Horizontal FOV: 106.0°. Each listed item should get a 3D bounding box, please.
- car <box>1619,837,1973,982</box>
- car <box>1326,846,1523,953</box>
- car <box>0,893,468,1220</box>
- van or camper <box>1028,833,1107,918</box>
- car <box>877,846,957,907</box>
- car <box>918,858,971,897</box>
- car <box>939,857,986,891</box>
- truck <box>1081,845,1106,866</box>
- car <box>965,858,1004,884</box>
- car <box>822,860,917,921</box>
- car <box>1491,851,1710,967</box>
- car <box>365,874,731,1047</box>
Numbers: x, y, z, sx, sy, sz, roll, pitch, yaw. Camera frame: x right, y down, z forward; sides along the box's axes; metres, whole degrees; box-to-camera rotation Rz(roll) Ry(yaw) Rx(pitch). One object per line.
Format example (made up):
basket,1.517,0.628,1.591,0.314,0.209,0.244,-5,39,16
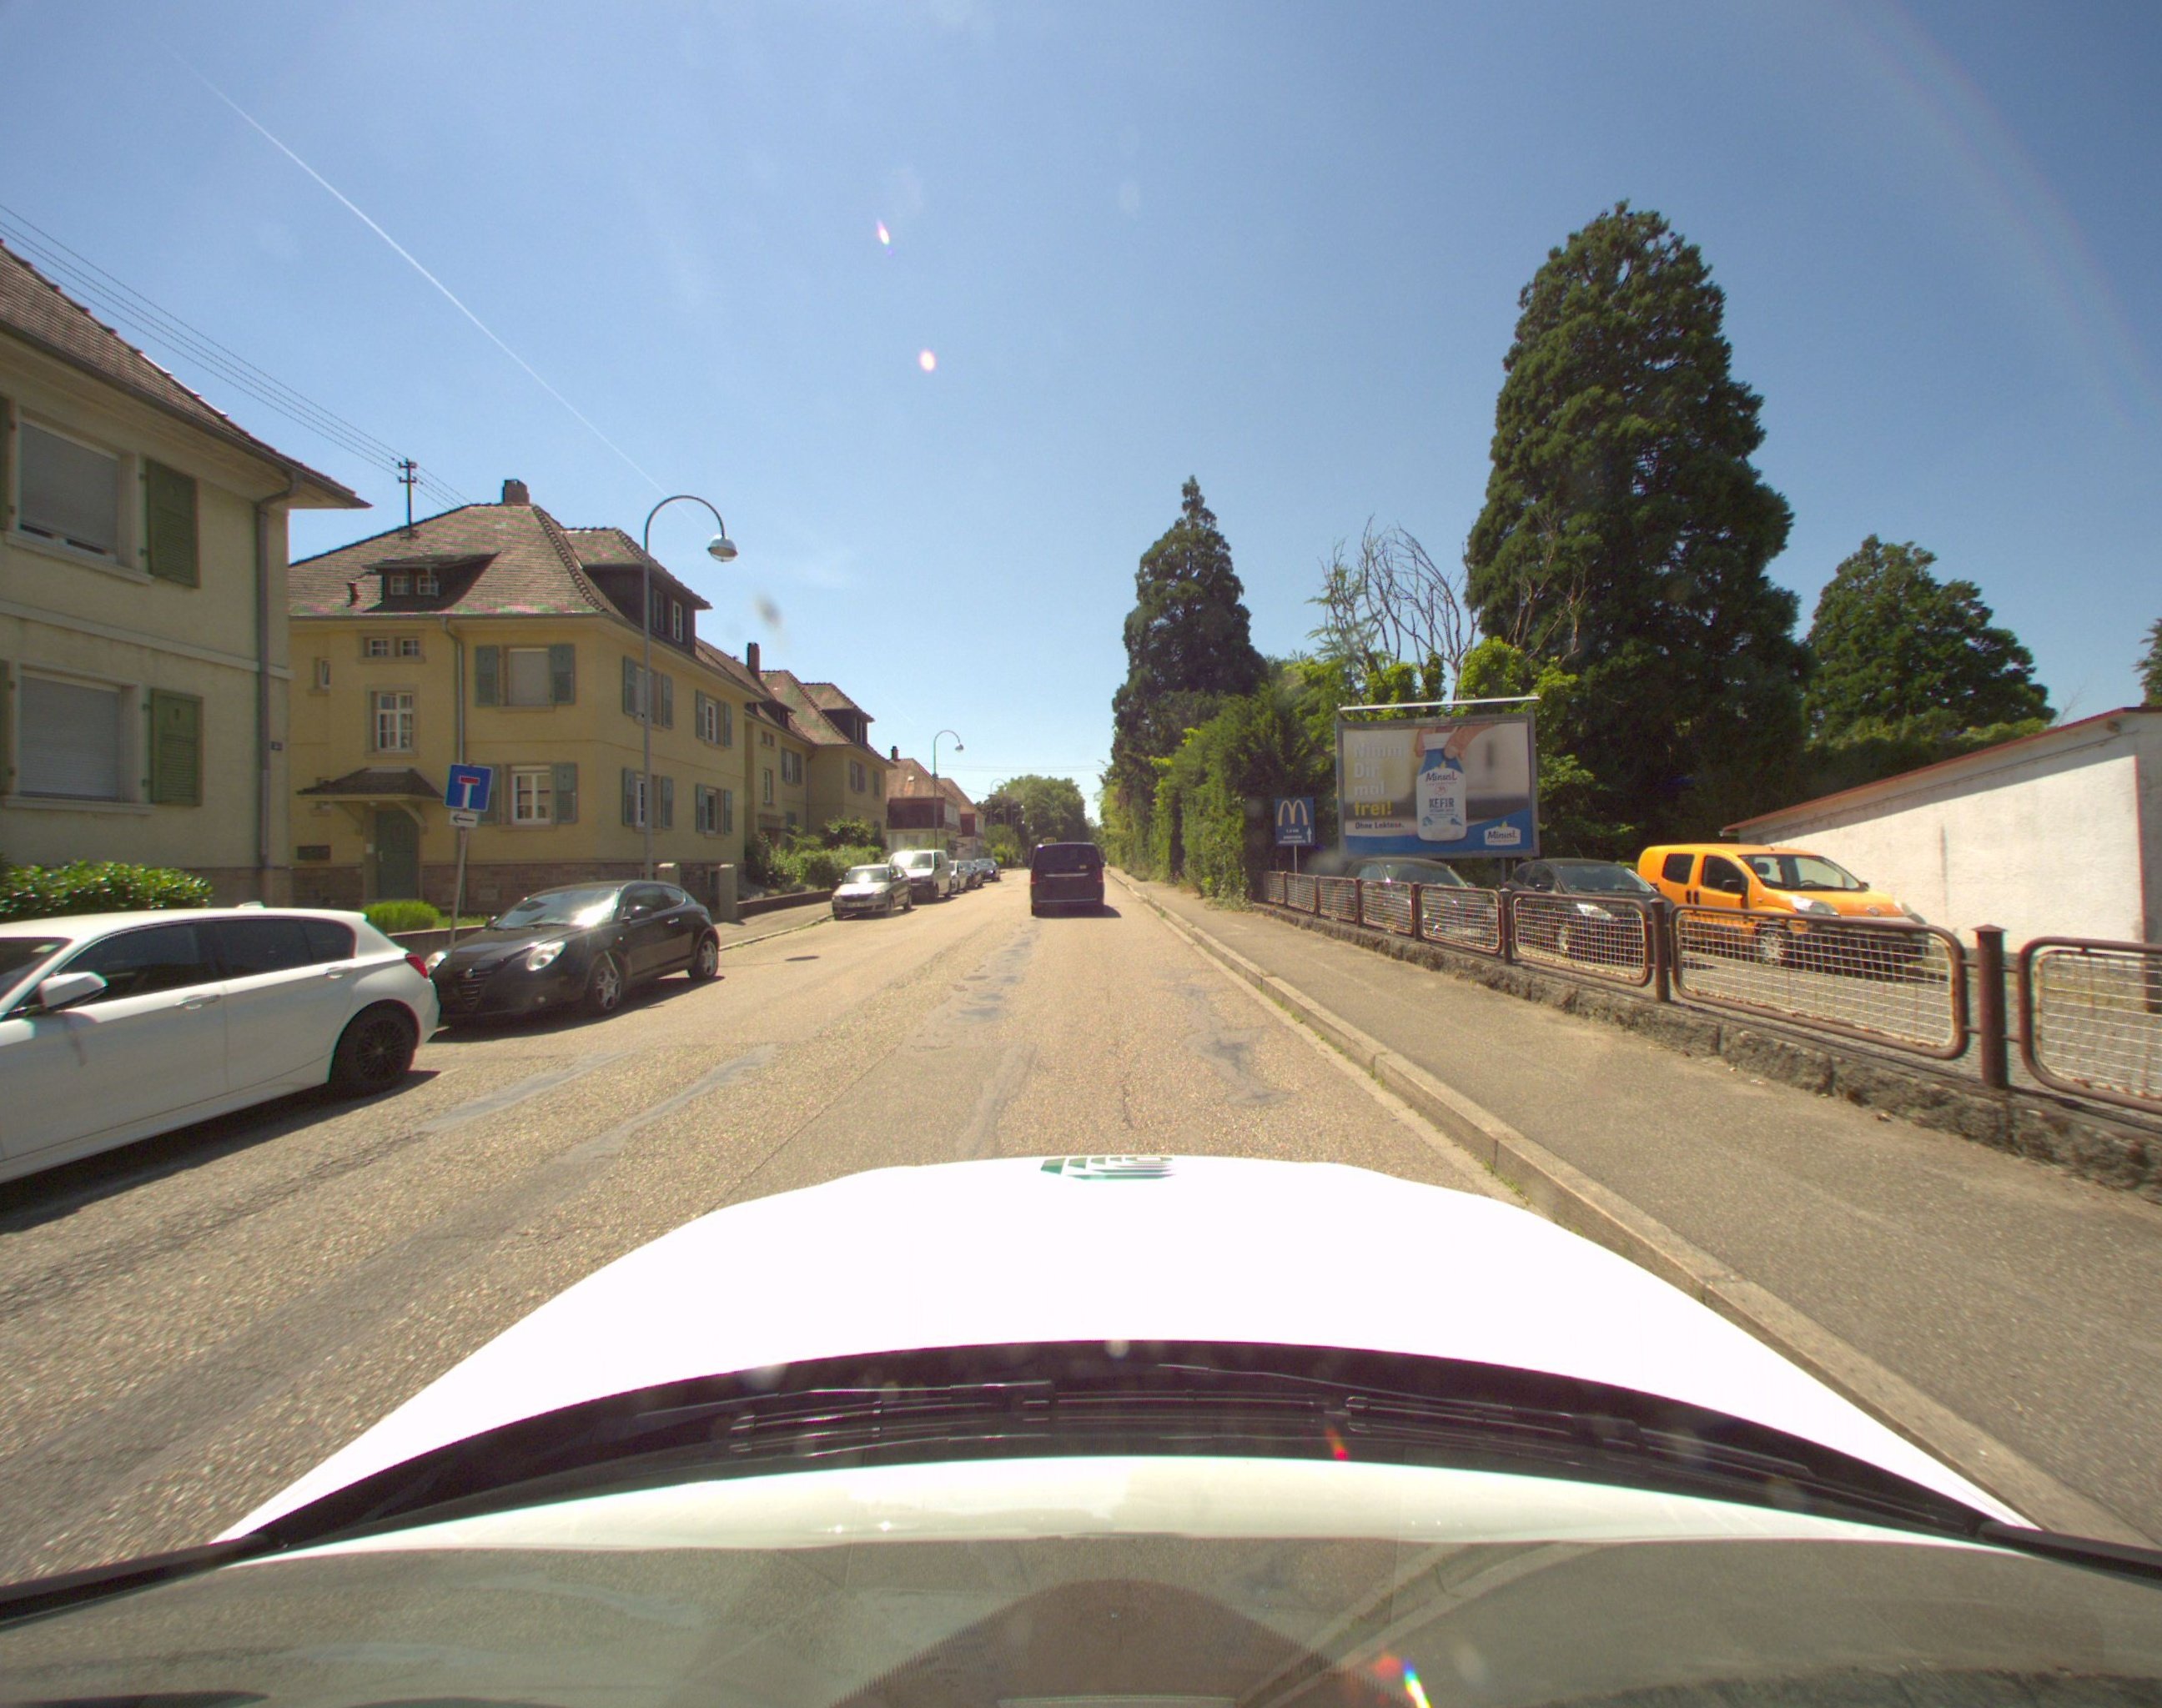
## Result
car,10.531,0.724,12.509,1.769,1.800,4.164,2,0,0
car,5.403,0.657,13.305,1.627,1.459,3.554,2,0,-2
car,-5.931,1.048,4.548,1.789,1.402,4.217,-3,-1,-1
van or camper,-0.303,0.532,22.348,1.896,2.014,5.269,-1,0,0
car,-5.970,0.779,30.175,1.872,1.963,4.625,-4,0,0
car,-5.931,0.999,35.766,1.660,1.492,3.477,-3,0,0
car,-5.807,0.947,40.322,1.660,1.492,4.465,-2,0,0
truck,1.368,0.173,92.735,2.351,2.258,6.084,-2,0,-4
car,-5.839,1.004,49.580,1.660,1.386,4.381,-3,0,1
car,-6.091,0.999,23.957,1.681,1.525,4.061,-2,0,0
car,8.066,0.775,13.013,1.623,1.543,3.399,2,0,7
car,-5.964,1.063,9.819,1.711,1.485,4.074,-3,-1,-1
